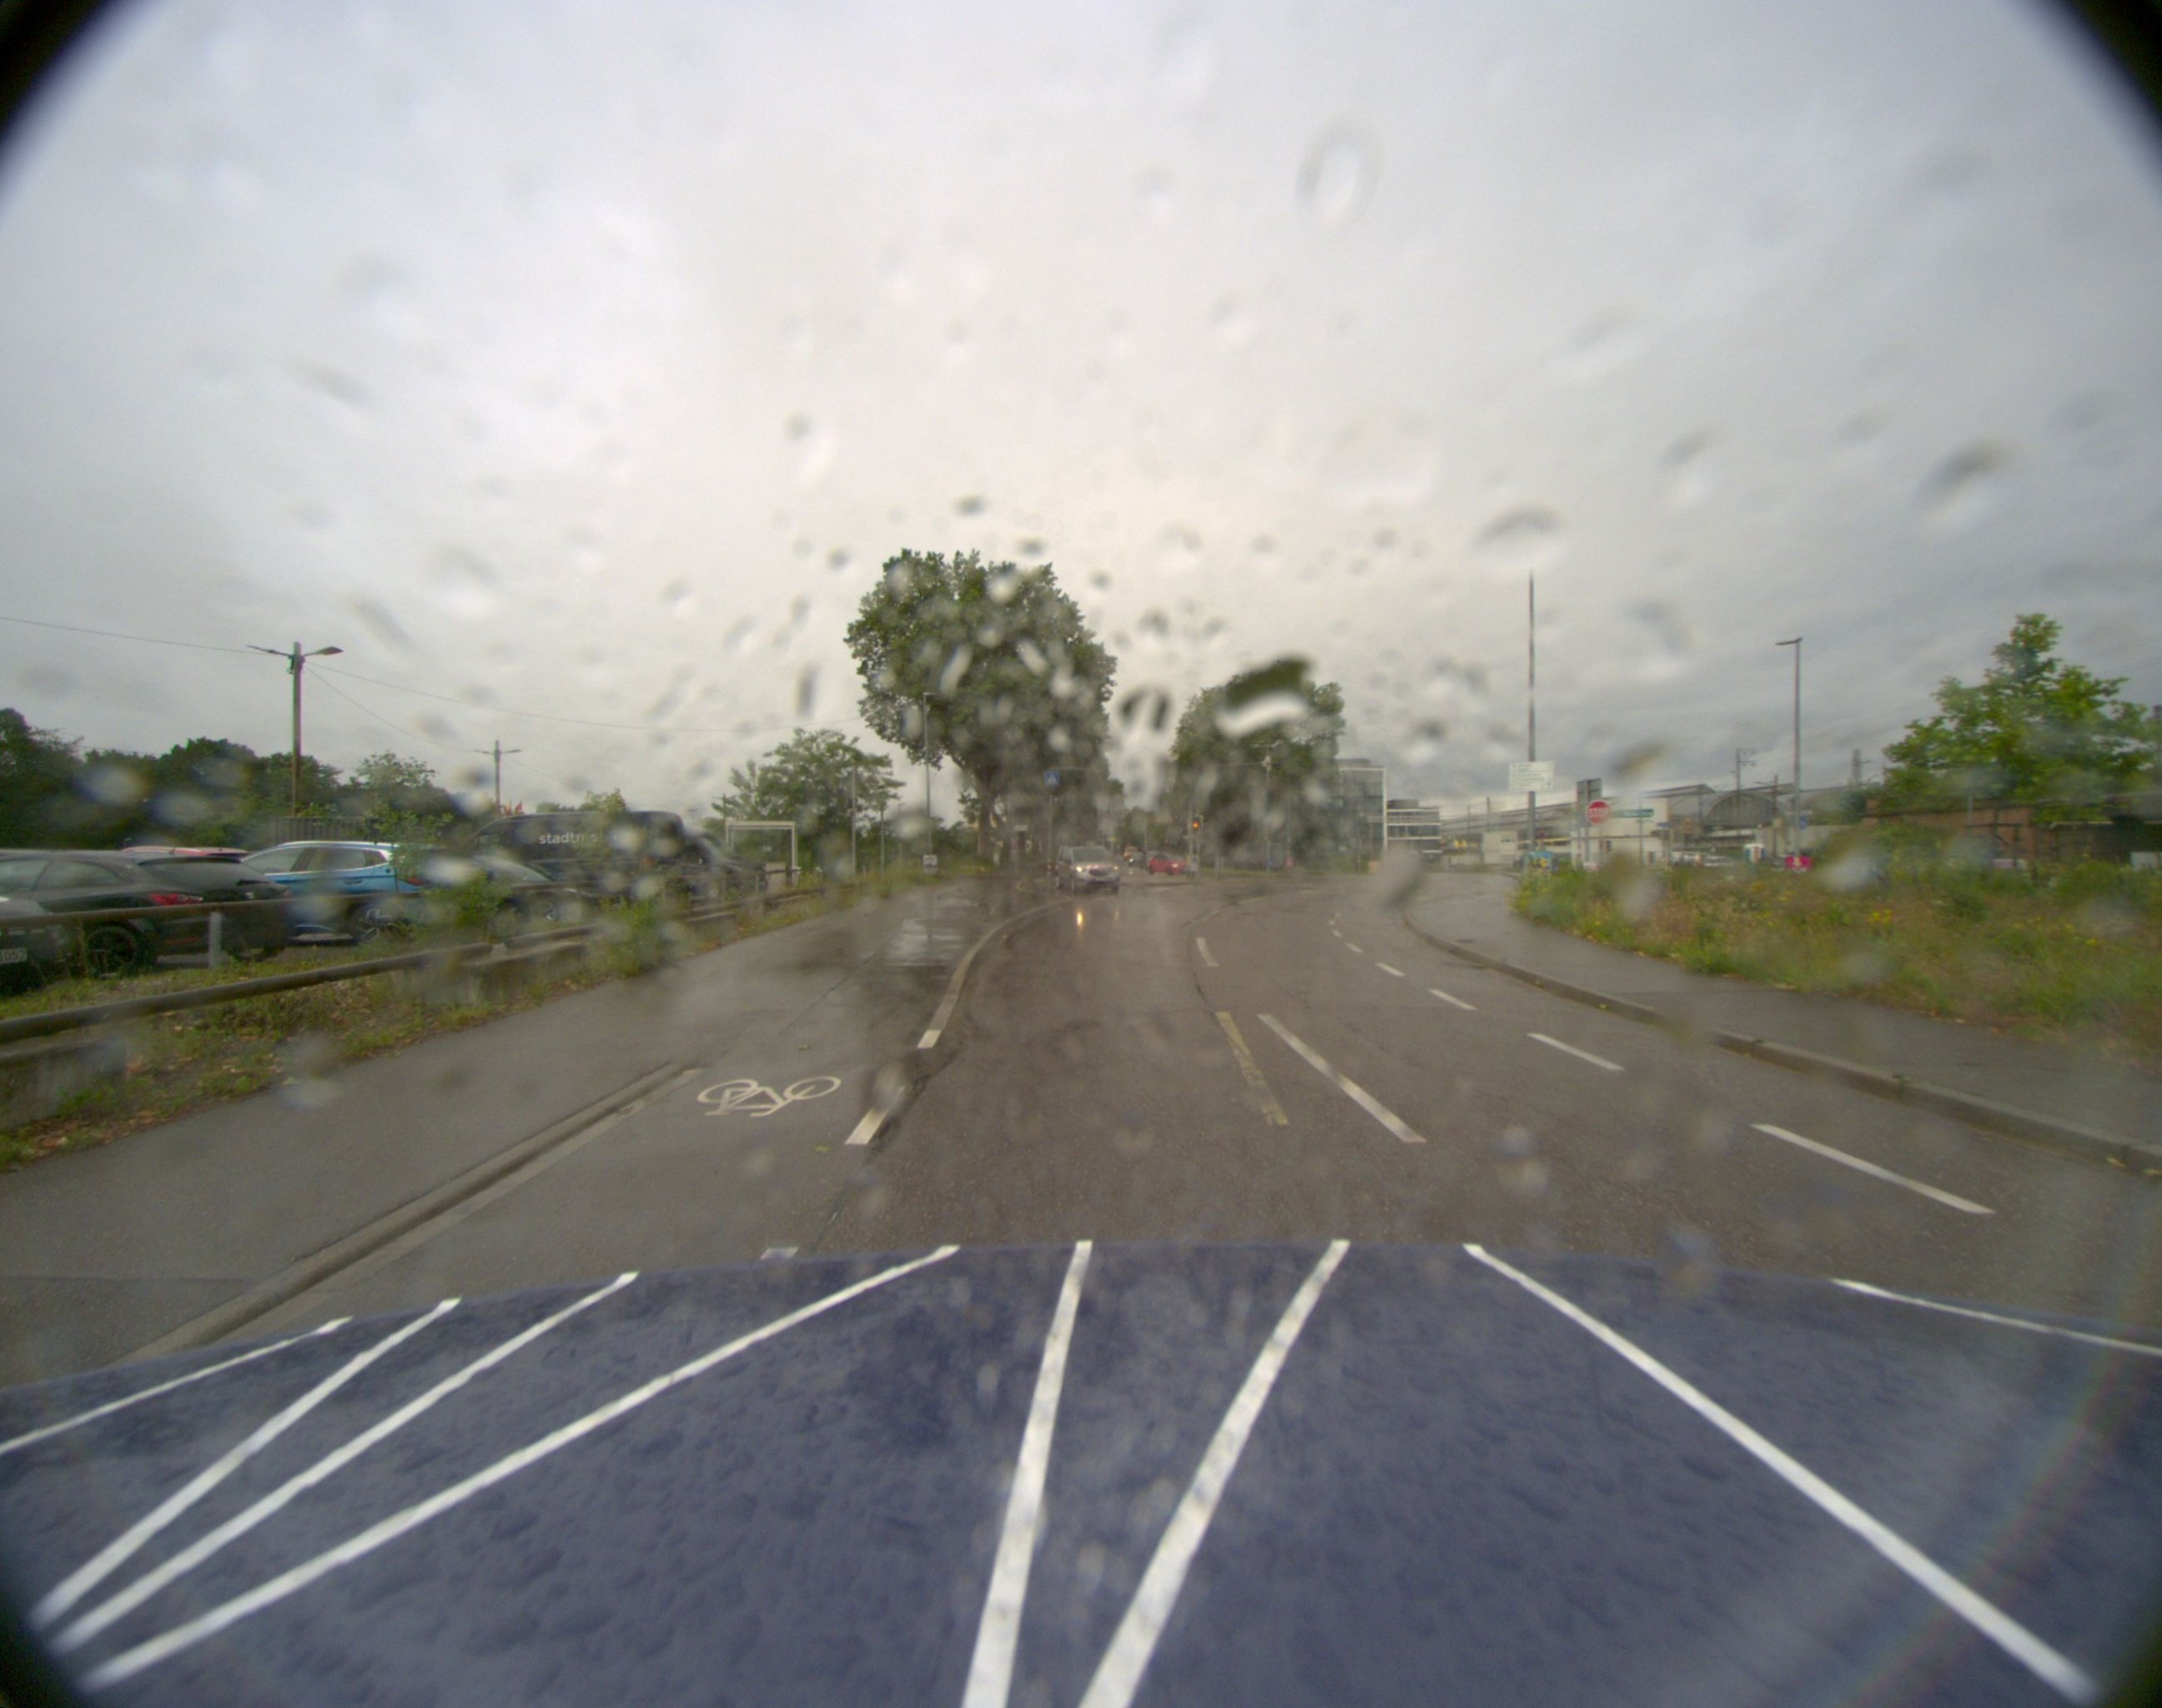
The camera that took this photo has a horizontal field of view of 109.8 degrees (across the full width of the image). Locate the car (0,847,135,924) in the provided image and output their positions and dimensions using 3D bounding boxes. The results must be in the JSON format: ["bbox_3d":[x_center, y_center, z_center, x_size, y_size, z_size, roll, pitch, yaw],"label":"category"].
[{"bbox_3d":[-23.128,0.617,16.125,3.962,1.471,1.707,1,1,1],"label":"car"}]

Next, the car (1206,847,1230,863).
[{"bbox_3d":[14.143,0.127,78.505,1.649,1.443,3.530,1,-2,-4],"label":"car"}]

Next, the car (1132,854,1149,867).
[{"bbox_3d":[6.071,0.647,78.043,1.643,1.346,3.776,0,0,3],"label":"car"}]

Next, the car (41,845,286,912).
[{"bbox_3d":[-22.950,0.579,19.123,3.962,1.528,1.807,1,1,1],"label":"car"}]

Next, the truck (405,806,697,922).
[{"bbox_3d":[-11.913,0.197,17.429,5.047,2.389,2.109,-1,1,-4],"label":"truck"}]

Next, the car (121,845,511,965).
[{"bbox_3d":[-11.541,0.708,11.747,3.906,1.585,1.896,-1,1,-4],"label":"car"}]

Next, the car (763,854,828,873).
[{"bbox_3d":[-21.647,0.712,57.776,4.398,1.422,1.874,0,0,-13],"label":"car"}]

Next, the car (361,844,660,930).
[{"bbox_3d":[-10.720,0.567,14.567,4.171,1.412,1.862,-1,1,-4],"label":"car"}]

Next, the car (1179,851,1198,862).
[{"bbox_3d":[16.157,0.313,114.259,1.999,1.632,3.998,0,0,-4],"label":"car"}]

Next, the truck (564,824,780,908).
[{"bbox_3d":[-12.263,0.343,23.069,5.343,2.309,2.074,-1,1,-1],"label":"truck"}]

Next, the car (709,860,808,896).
[{"bbox_3d":[-14.580,1.064,34.394,4.005,1.494,1.872,0,0,-25],"label":"car"}]

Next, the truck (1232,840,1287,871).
[{"bbox_3d":[15.390,0.113,66.101,2.091,2.604,6.971,0,0,-10],"label":"truck"}]

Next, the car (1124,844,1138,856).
[{"bbox_3d":[6.895,-0.526,105.708,1.852,1.593,4.502,2,-1,3],"label":"car"}]

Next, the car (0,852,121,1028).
[{"bbox_3d":[-10.727,0.754,5.933,3.906,1.415,1.778,-1,1,-4],"label":"car"}]

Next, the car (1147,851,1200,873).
[{"bbox_3d":[6.004,0.498,49.880,1.747,1.373,3.992,-1,0,-22],"label":"car"}]

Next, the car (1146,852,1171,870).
[{"bbox_3d":[6.474,0.578,63.777,1.743,1.373,4.001,1,0,2],"label":"car"}]

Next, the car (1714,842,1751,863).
[{"bbox_3d":[66.878,-0.205,78.079,1.995,2.002,4.006,-1,1,26],"label":"car"}]

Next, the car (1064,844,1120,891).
[{"bbox_3d":[0.357,0.470,29.975,1.839,1.714,4.170,0,1,-4],"label":"car"}]

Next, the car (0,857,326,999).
[{"bbox_3d":[-11.601,0.800,8.709,3.906,1.387,1.778,-1,1,-4],"label":"car"}]
